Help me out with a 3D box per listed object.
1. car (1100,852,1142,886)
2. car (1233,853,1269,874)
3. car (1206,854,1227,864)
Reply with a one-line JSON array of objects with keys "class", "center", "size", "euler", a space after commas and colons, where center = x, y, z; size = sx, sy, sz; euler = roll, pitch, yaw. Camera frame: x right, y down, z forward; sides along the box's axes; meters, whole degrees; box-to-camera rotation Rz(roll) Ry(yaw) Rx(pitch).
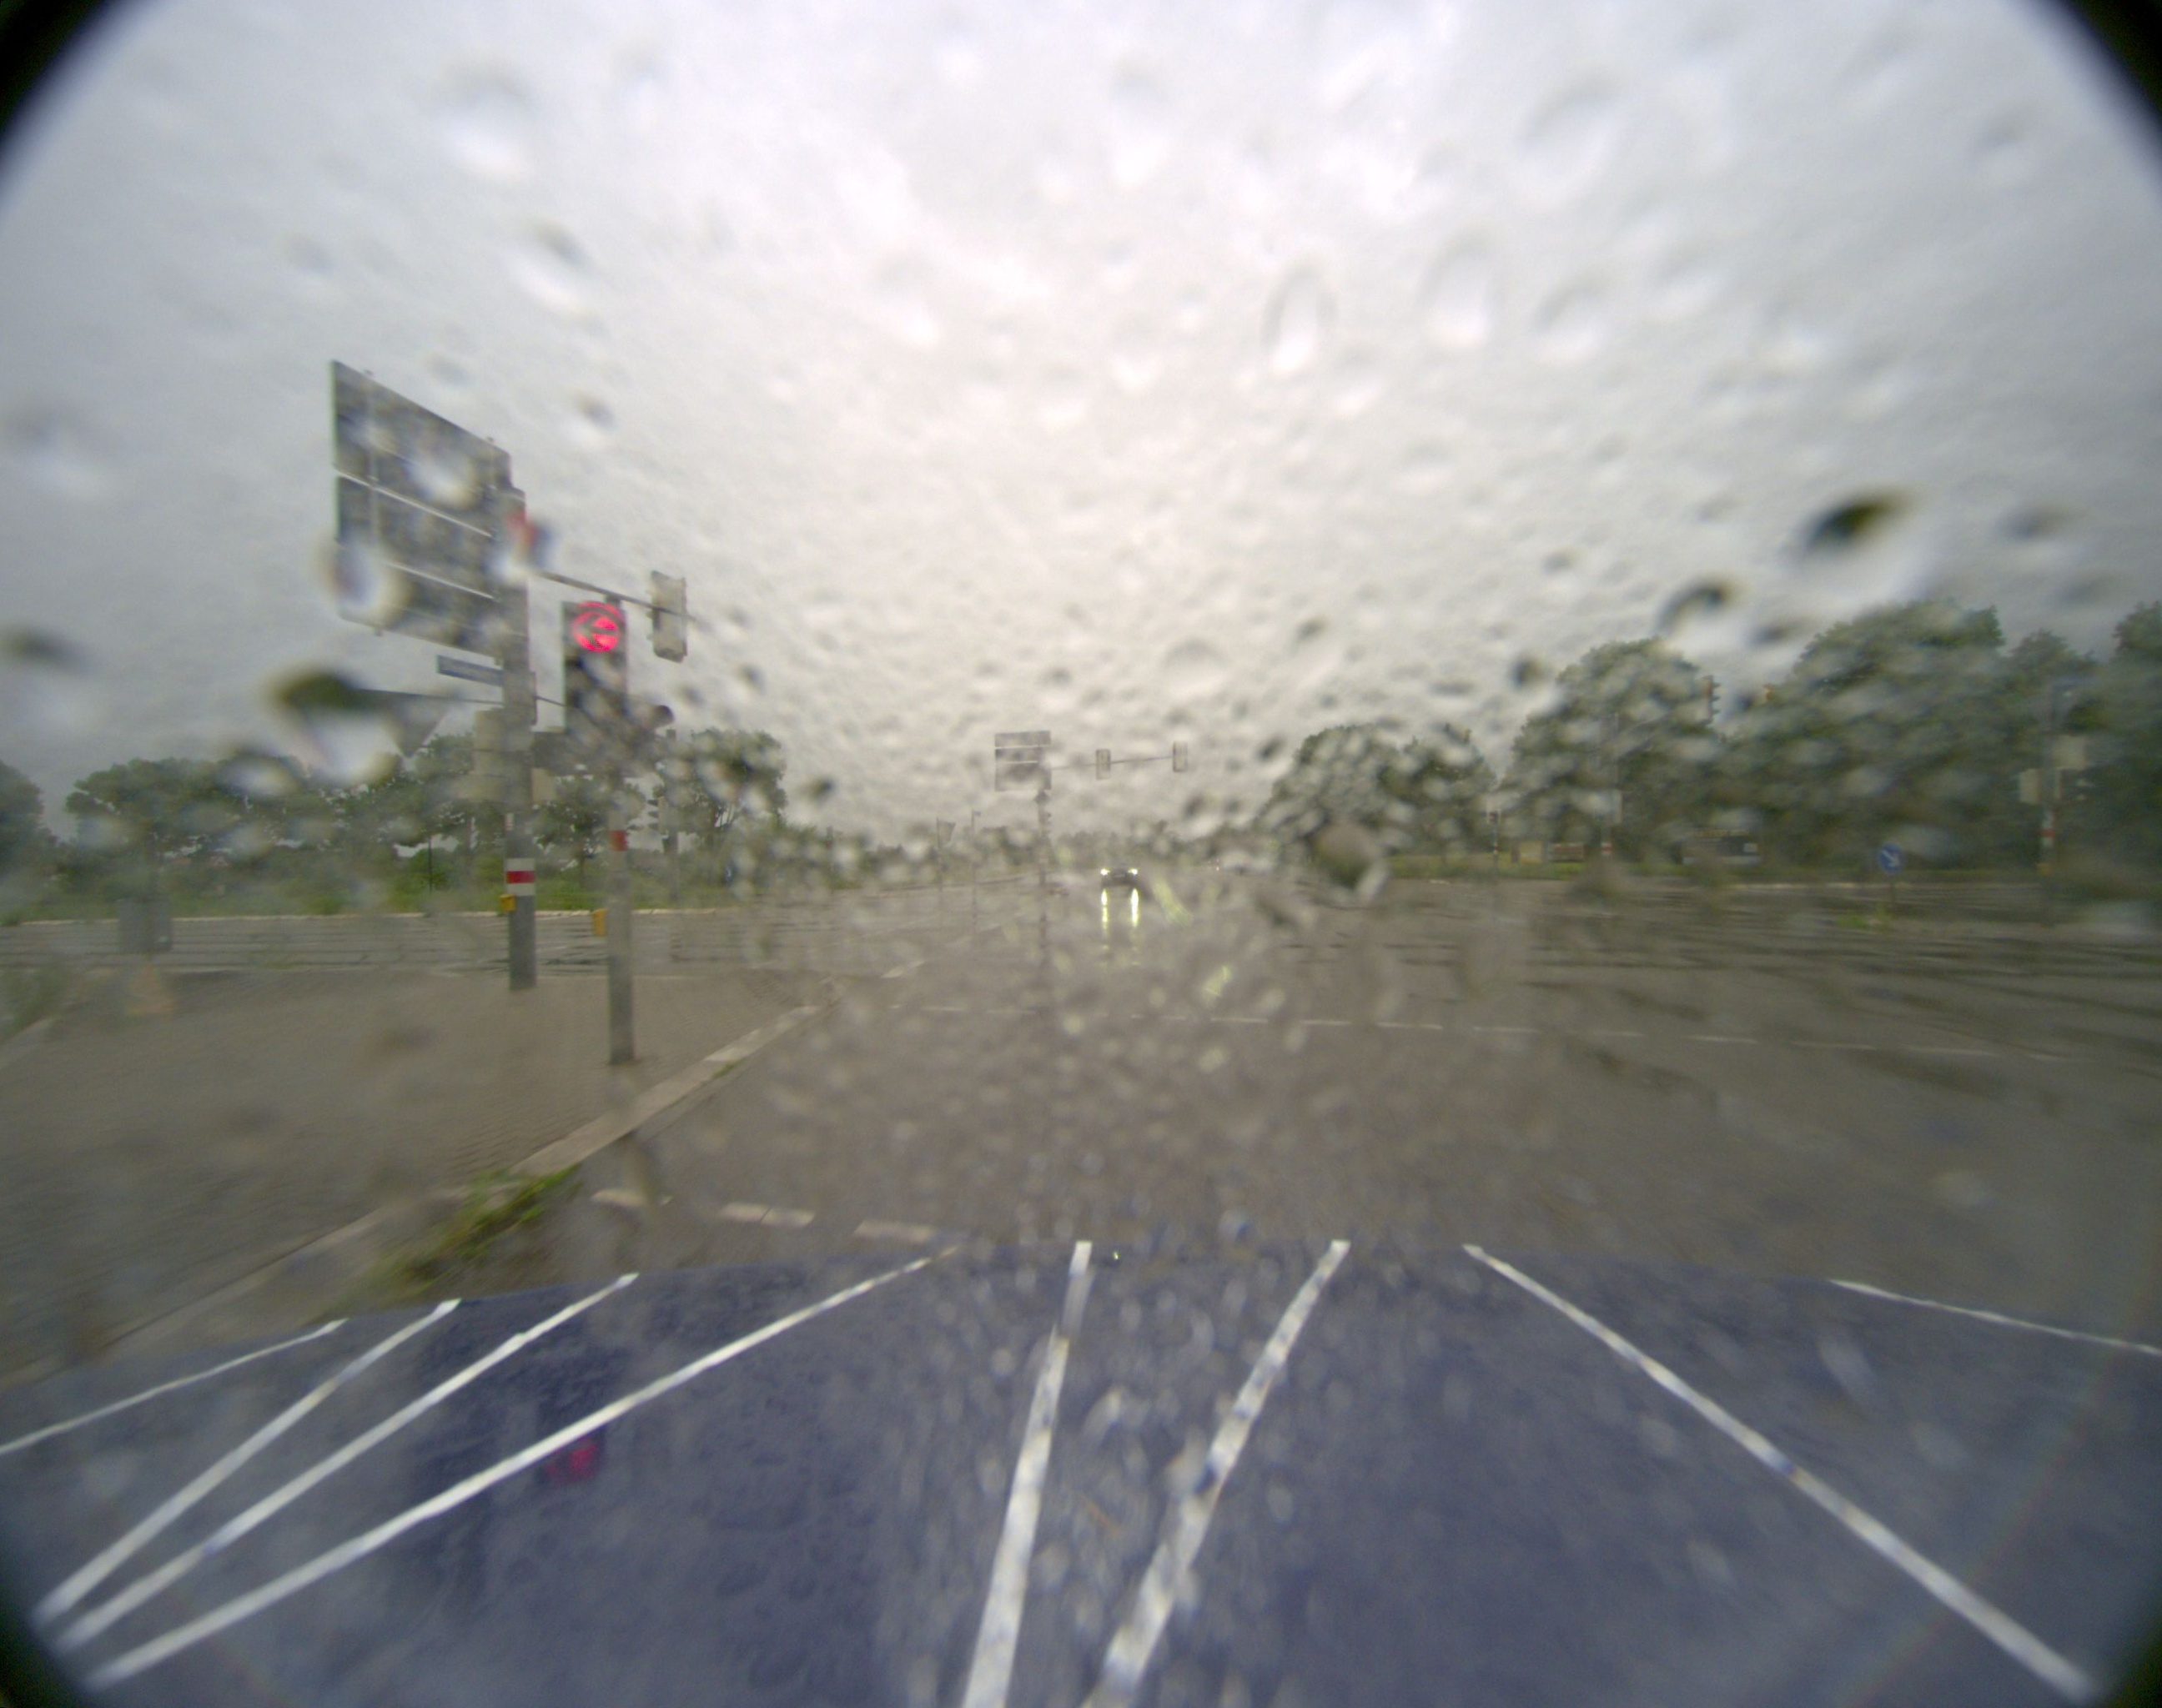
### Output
[{"class": "car", "center": [1.941, 0.723, 38.177], "size": [1.916, 1.576, 4.103], "euler": [-1, 0, 1]}, {"class": "car", "center": [12.382, 0.670, 55.503], "size": [1.713, 1.457, 4.453], "euler": [-1, 0, 2]}, {"class": "car", "center": [23.058, 0.840, 129.226], "size": [1.912, 1.678, 4.111], "euler": [-1, 0, 33]}]
